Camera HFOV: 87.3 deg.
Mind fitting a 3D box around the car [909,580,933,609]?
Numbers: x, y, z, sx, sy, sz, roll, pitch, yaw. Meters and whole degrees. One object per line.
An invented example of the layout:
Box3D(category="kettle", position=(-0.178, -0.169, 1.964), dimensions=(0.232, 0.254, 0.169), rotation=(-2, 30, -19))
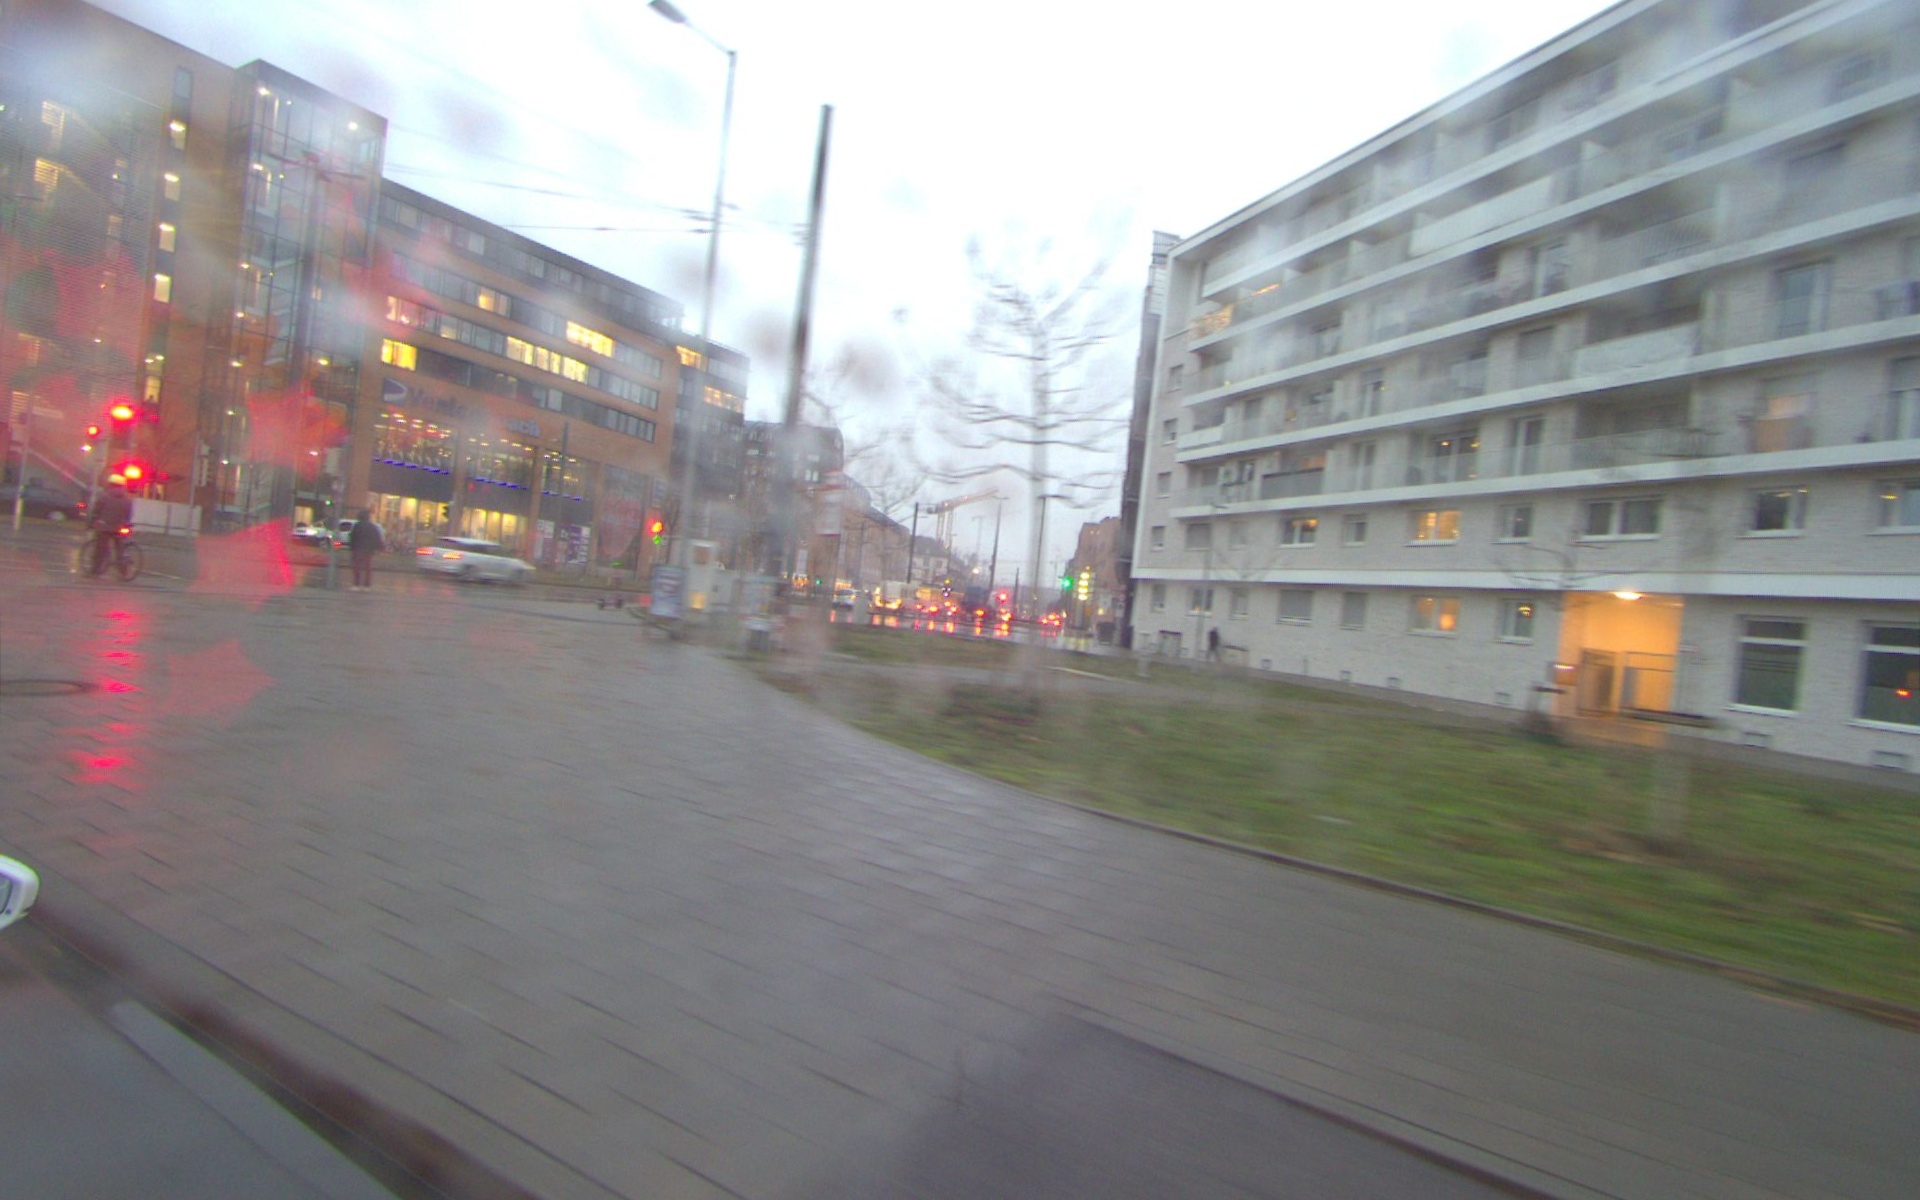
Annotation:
Box3D(category="car", position=(-4.297, -0.545, 112.678), dimensions=(2.319, 2.861, 6.357), rotation=(7, -1, -2))

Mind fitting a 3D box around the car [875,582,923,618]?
Box3D(category="car", position=(-4.789, 0.031, 80.286), dimensions=(1.962, 2.457, 5.977), rotation=(7, 0, 13))

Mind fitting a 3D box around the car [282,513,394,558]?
Box3D(category="car", position=(-33.037, -3.405, 53.536), dimensions=(1.899, 1.740, 4.596), rotation=(7, 0, 35))

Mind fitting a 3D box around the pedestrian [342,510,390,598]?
Box3D(category="pedestrian", position=(-13.590, -1.042, 22.999), dimensions=(0.768, 1.901, 0.629), rotation=(6, 1, -33))

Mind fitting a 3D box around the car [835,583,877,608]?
Box3D(category="car", position=(-7.429, -0.298, 72.102), dimensions=(1.613, 1.514, 3.685), rotation=(7, 0, 17))

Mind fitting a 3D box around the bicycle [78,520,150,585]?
Box3D(category="bicycle", position=(-15.217, -0.864, 18.080), dimensions=(1.840, 0.986, 0.654), rotation=(7, 0, 41))

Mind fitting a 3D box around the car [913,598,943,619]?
Box3D(category="car", position=(-2.738, 0.752, 86.784), dimensions=(1.494, 1.538, 3.473), rotation=(7, -1, 14))

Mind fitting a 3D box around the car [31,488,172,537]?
Box3D(category="car", position=(-37.893, -3.814, 44.539), dimensions=(1.600, 1.462, 4.421), rotation=(7, 0, 24))

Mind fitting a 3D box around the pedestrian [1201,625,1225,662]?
Box3D(category="pedestrian", position=(11.829, 2.027, 47.029), dimensions=(0.624, 1.653, 0.718), rotation=(7, 1, 42))

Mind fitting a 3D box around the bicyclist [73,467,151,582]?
Box3D(category="bicyclist", position=(-15.156, -1.348, 17.978), dimensions=(0.975, 1.914, 0.789), rotation=(7, 1, 41))

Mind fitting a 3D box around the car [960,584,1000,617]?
Box3D(category="car", position=(2.068, 0.083, 102.652), dimensions=(2.318, 2.861, 6.362), rotation=(7, -1, 15))

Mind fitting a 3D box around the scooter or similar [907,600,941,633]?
Box3D(category="scooter or similar", position=(-1.558, 0.729, 43.976), dimensions=(0.658, 1.241, 1.555), rotation=(6, -2, 29))

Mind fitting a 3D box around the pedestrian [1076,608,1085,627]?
Box3D(category="pedestrian", position=(10.818, 1.584, 90.489), dimensions=(0.522, 1.703, 0.745), rotation=(7, 1, 17))

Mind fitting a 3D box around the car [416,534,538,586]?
Box3D(category="car", position=(-16.918, -1.370, 35.416), dimensions=(1.614, 1.377, 3.733), rotation=(7, 0, 19))

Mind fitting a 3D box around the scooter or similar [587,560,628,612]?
Box3D(category="scooter or similar", position=(-8.870, -0.342, 25.355), dimensions=(0.327, 1.221, 1.309), rotation=(7, 0, 7))
